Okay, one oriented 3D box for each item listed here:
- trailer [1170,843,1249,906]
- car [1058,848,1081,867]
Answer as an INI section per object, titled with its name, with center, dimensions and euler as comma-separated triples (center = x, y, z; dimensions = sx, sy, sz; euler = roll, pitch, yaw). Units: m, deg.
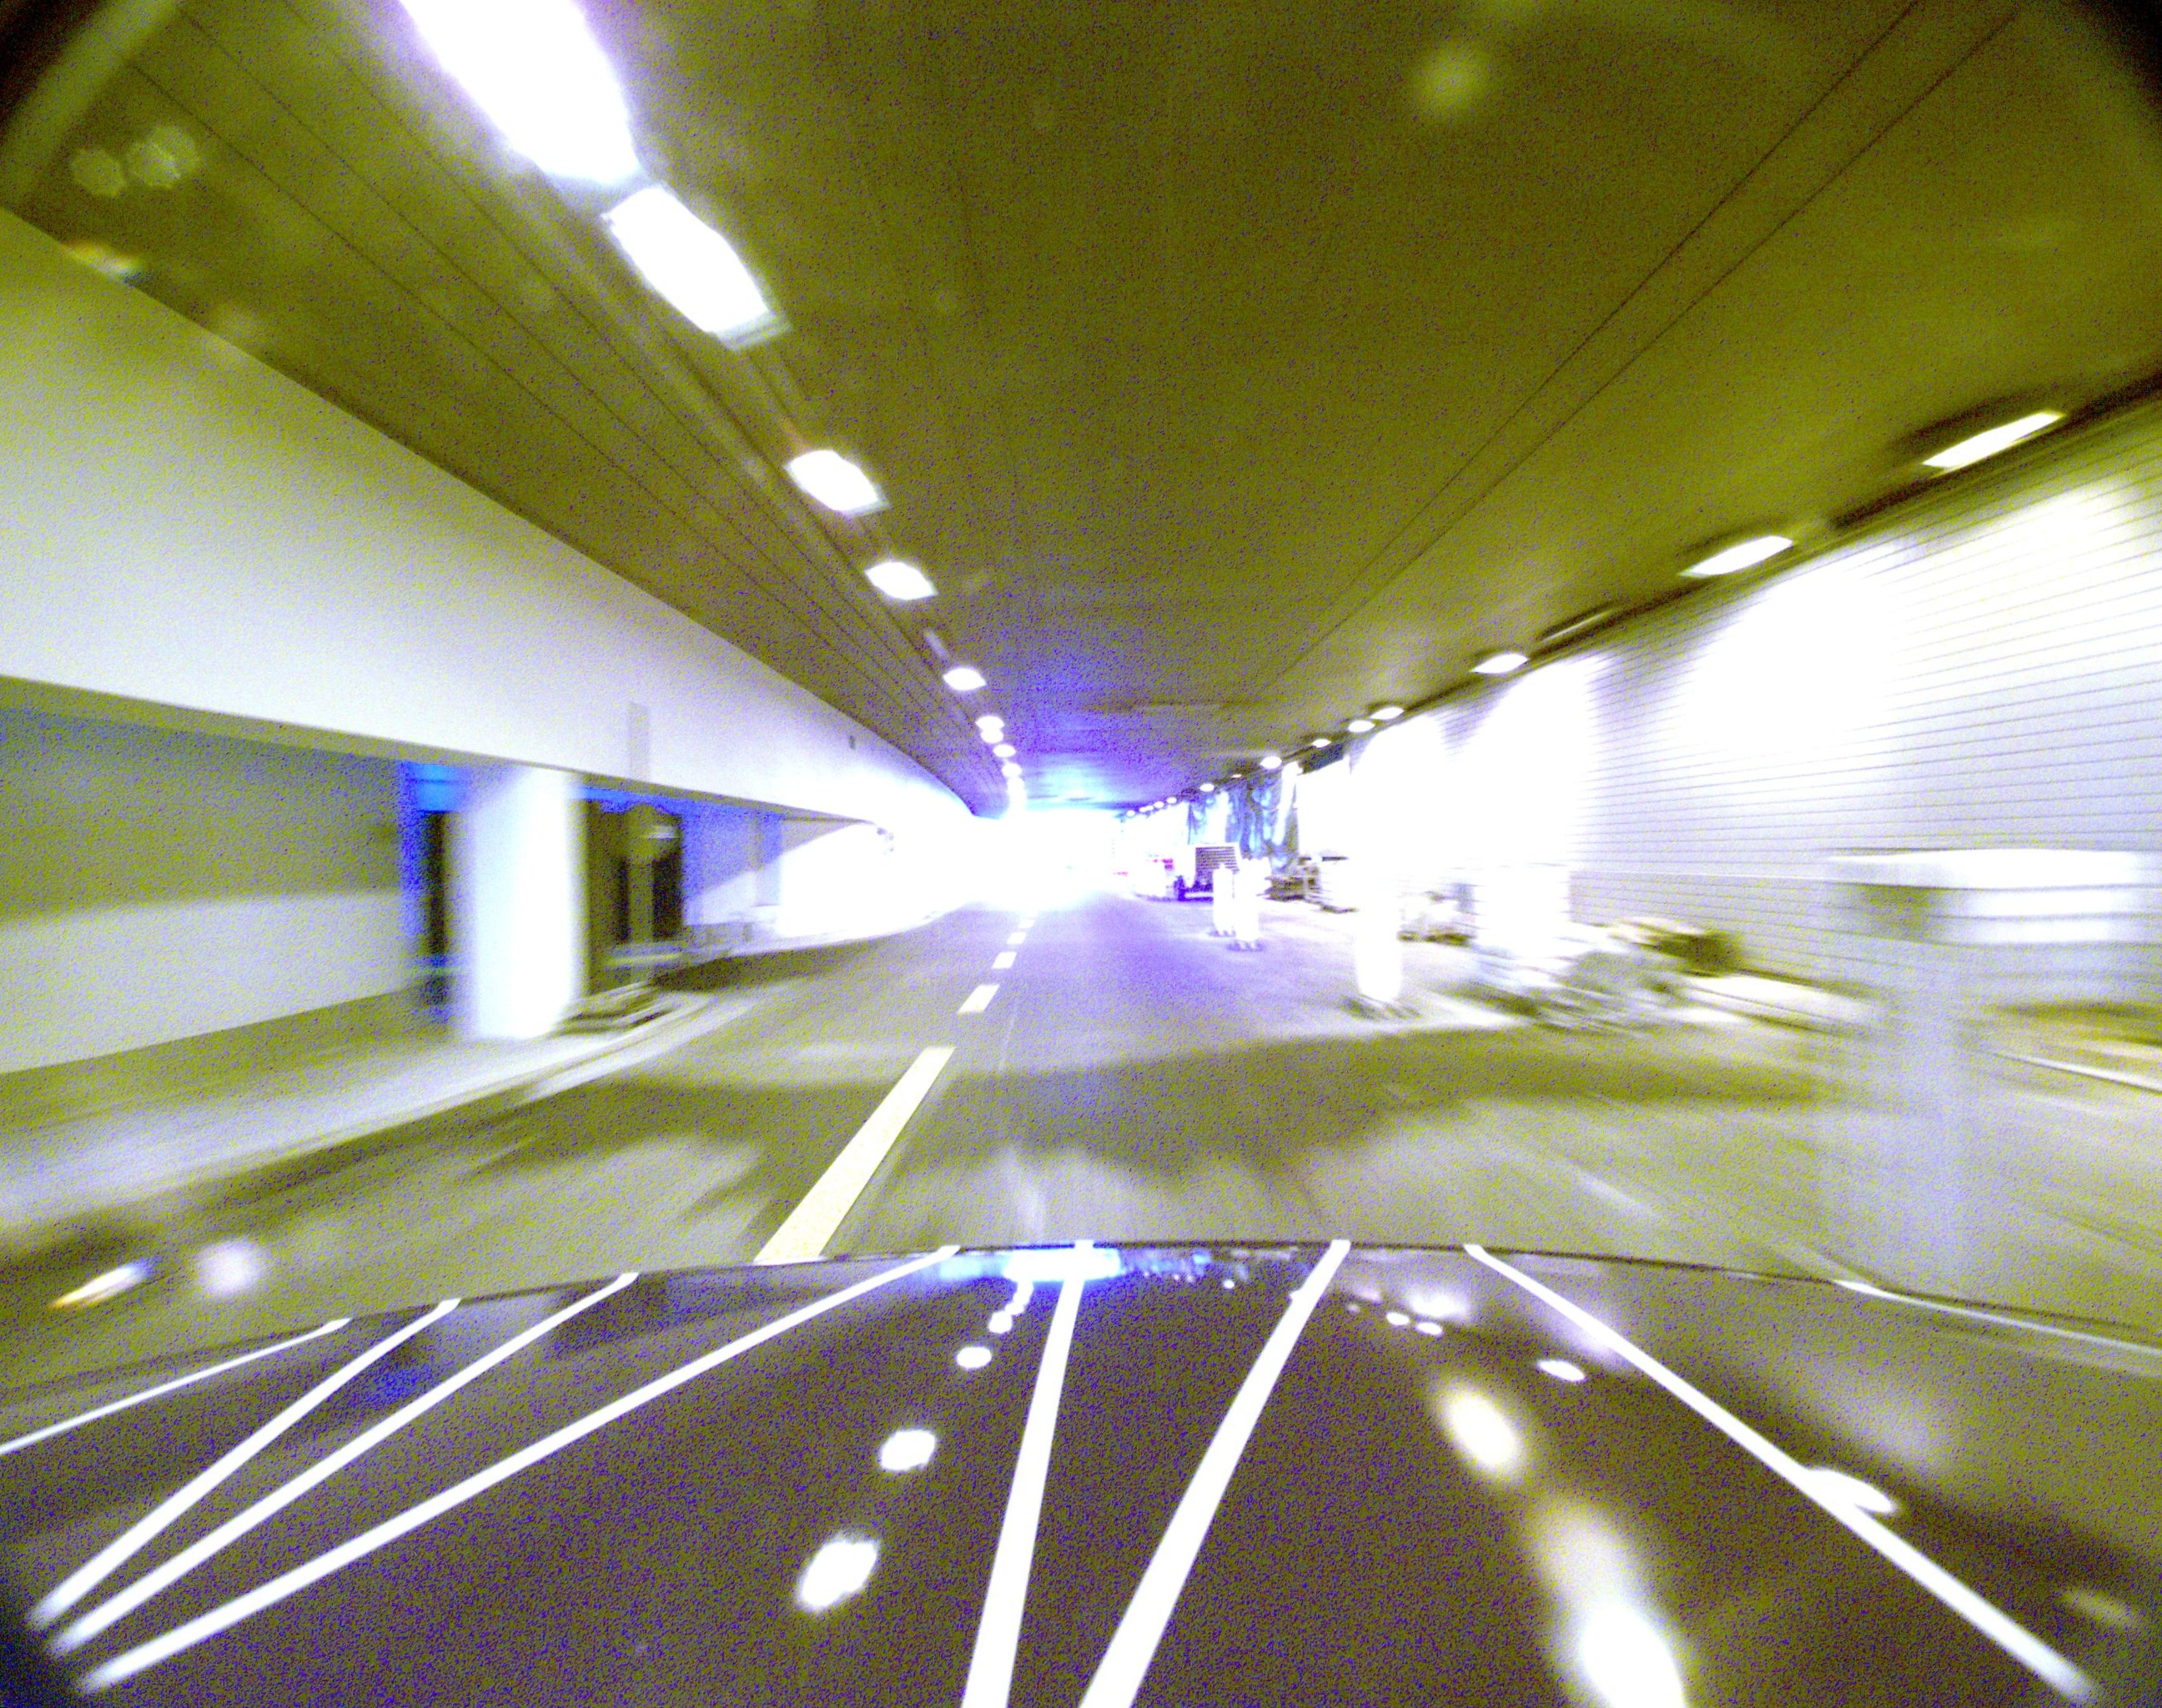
[trailer]
center = 3.922, 0.569, 23.652
dimensions = 1.644, 1.781, 3.120
euler = -2, 1, -5
[car]
center = -1.156, 0.325, 73.501
dimensions = 1.999, 1.743, 3.998
euler = -2, 1, -3
